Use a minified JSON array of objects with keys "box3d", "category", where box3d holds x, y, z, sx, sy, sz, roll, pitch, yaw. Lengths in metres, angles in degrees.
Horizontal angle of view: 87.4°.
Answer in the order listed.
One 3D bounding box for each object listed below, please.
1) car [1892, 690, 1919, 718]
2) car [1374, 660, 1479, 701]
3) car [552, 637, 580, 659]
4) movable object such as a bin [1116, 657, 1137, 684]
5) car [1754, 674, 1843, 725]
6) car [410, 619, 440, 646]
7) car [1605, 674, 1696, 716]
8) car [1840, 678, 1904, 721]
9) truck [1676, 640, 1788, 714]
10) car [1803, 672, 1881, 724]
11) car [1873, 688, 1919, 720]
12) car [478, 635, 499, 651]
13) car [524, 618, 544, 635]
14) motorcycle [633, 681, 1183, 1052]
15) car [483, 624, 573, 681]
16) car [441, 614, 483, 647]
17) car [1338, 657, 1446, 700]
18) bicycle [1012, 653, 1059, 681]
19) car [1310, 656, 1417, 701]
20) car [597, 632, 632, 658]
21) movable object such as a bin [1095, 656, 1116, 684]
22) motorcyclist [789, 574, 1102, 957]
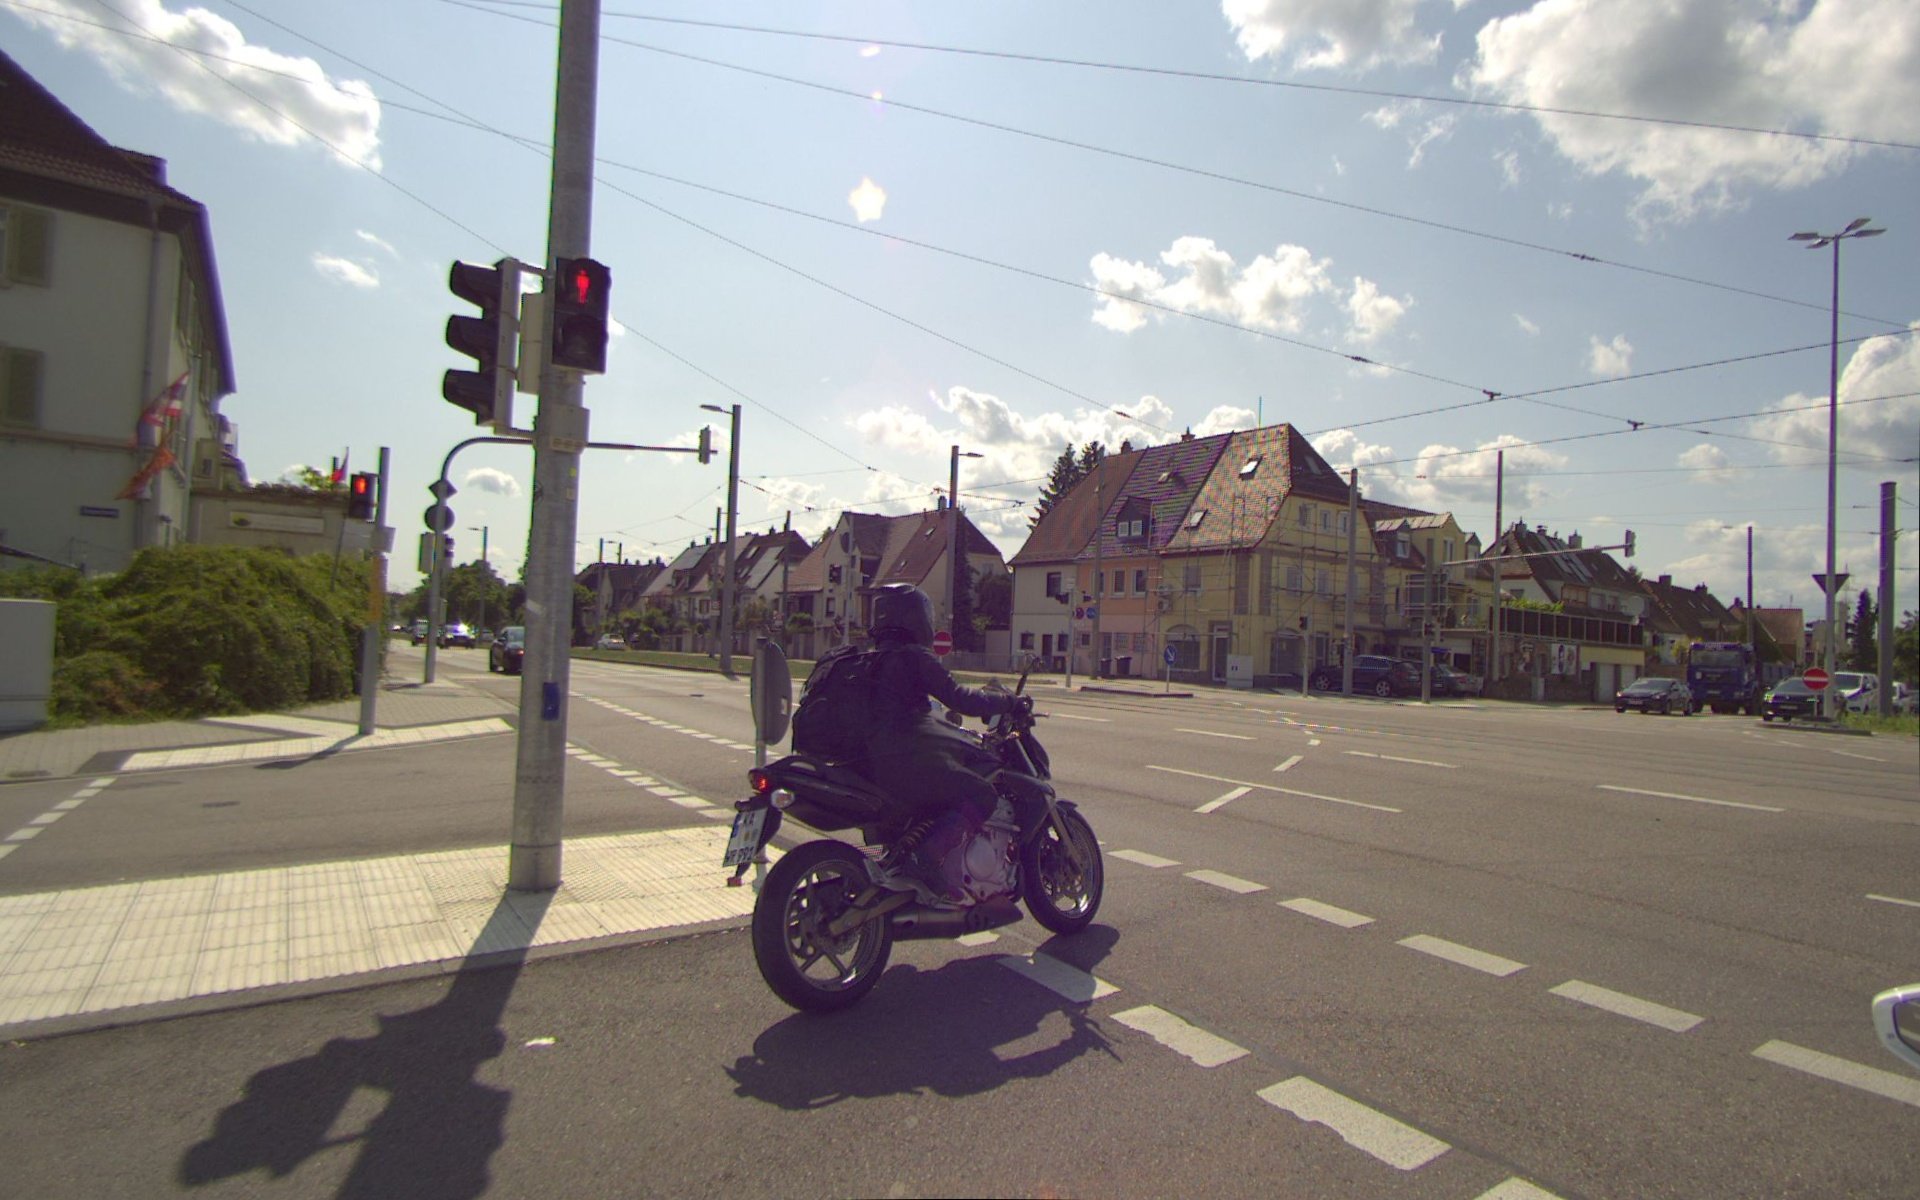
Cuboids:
[{"box3d":[52.930,5.763,55.297,4.878,1.431,1.828,5,-4,-40],"category":"car"},{"box3d":[21.265,3.635,45.886,1.423,1.513,4.100,4,-1,-39],"category":"car"},{"box3d":[-38.615,4.674,98.423,1.977,2.040,3.969,3,-3,-30],"category":"car"},{"box3d":[8.072,3.412,48.821,0.675,1.277,0.677,4,-2,-35],"category":"movable object such as a bin"},{"box3d":[31.480,3.690,37.663,4.404,1.743,1.772,4,-3,-39],"category":"car"},{"box3d":[-42.922,2.582,80.548,1.977,2.040,3.969,3,-3,-30],"category":"car"},{"box3d":[27.965,3.864,40.638,4.296,1.506,1.814,5,-3,-38],"category":"car"},{"box3d":[42.470,4.611,46.743,4.371,1.805,1.718,5,-4,-41],"category":"car"},{"box3d":[36.958,3.721,47.982,7.524,3.229,2.745,5,-4,-40],"category":"truck"},{"box3d":[36.529,4.039,41.560,4.712,1.946,1.799,5,-3,-41],"category":"car"},{"box3d":[47.615,5.253,50.603,3.969,1.437,1.899,5,-4,-40],"category":"car"},{"box3d":[-60.153,5.479,128.114,1.977,2.040,3.969,3,-3,-30],"category":"car"},{"box3d":[-57.646,3.607,136.025,1.977,2.040,3.969,3,-4,-30],"category":"car"},{"box3d":[-0.090,0.945,4.332,2.341,1.142,0.834,4,-3,-42],"category":"motorcycle"},{"box3d":[-13.468,1.603,31.220,1.731,1.604,3.885,4,-3,-36],"category":"car"},{"box3d":[-33.392,2.047,67.339,1.887,2.040,3.678,5,-3,-35],"category":"car"},{"box3d":[19.033,3.444,44.405,1.495,1.513,4.100,4,-1,-39],"category":"car"},{"box3d":[3.953,3.492,52.585,2.430,1.373,0.769,4,-2,-31],"category":"bicycle"},{"box3d":[17.045,3.295,42.587,1.170,1.513,4.100,4,-1,-39],"category":"car"},{"box3d":[-29.154,3.760,84.689,1.977,2.040,3.969,3,-3,-30],"category":"car"},{"box3d":[6.973,3.336,48.090,0.675,1.277,0.677,4,-2,-35],"category":"movable object such as a bin"},{"box3d":[-0.058,0.613,4.382,1.091,1.417,0.816,0,1,-41],"category":"motorcyclist"}]
